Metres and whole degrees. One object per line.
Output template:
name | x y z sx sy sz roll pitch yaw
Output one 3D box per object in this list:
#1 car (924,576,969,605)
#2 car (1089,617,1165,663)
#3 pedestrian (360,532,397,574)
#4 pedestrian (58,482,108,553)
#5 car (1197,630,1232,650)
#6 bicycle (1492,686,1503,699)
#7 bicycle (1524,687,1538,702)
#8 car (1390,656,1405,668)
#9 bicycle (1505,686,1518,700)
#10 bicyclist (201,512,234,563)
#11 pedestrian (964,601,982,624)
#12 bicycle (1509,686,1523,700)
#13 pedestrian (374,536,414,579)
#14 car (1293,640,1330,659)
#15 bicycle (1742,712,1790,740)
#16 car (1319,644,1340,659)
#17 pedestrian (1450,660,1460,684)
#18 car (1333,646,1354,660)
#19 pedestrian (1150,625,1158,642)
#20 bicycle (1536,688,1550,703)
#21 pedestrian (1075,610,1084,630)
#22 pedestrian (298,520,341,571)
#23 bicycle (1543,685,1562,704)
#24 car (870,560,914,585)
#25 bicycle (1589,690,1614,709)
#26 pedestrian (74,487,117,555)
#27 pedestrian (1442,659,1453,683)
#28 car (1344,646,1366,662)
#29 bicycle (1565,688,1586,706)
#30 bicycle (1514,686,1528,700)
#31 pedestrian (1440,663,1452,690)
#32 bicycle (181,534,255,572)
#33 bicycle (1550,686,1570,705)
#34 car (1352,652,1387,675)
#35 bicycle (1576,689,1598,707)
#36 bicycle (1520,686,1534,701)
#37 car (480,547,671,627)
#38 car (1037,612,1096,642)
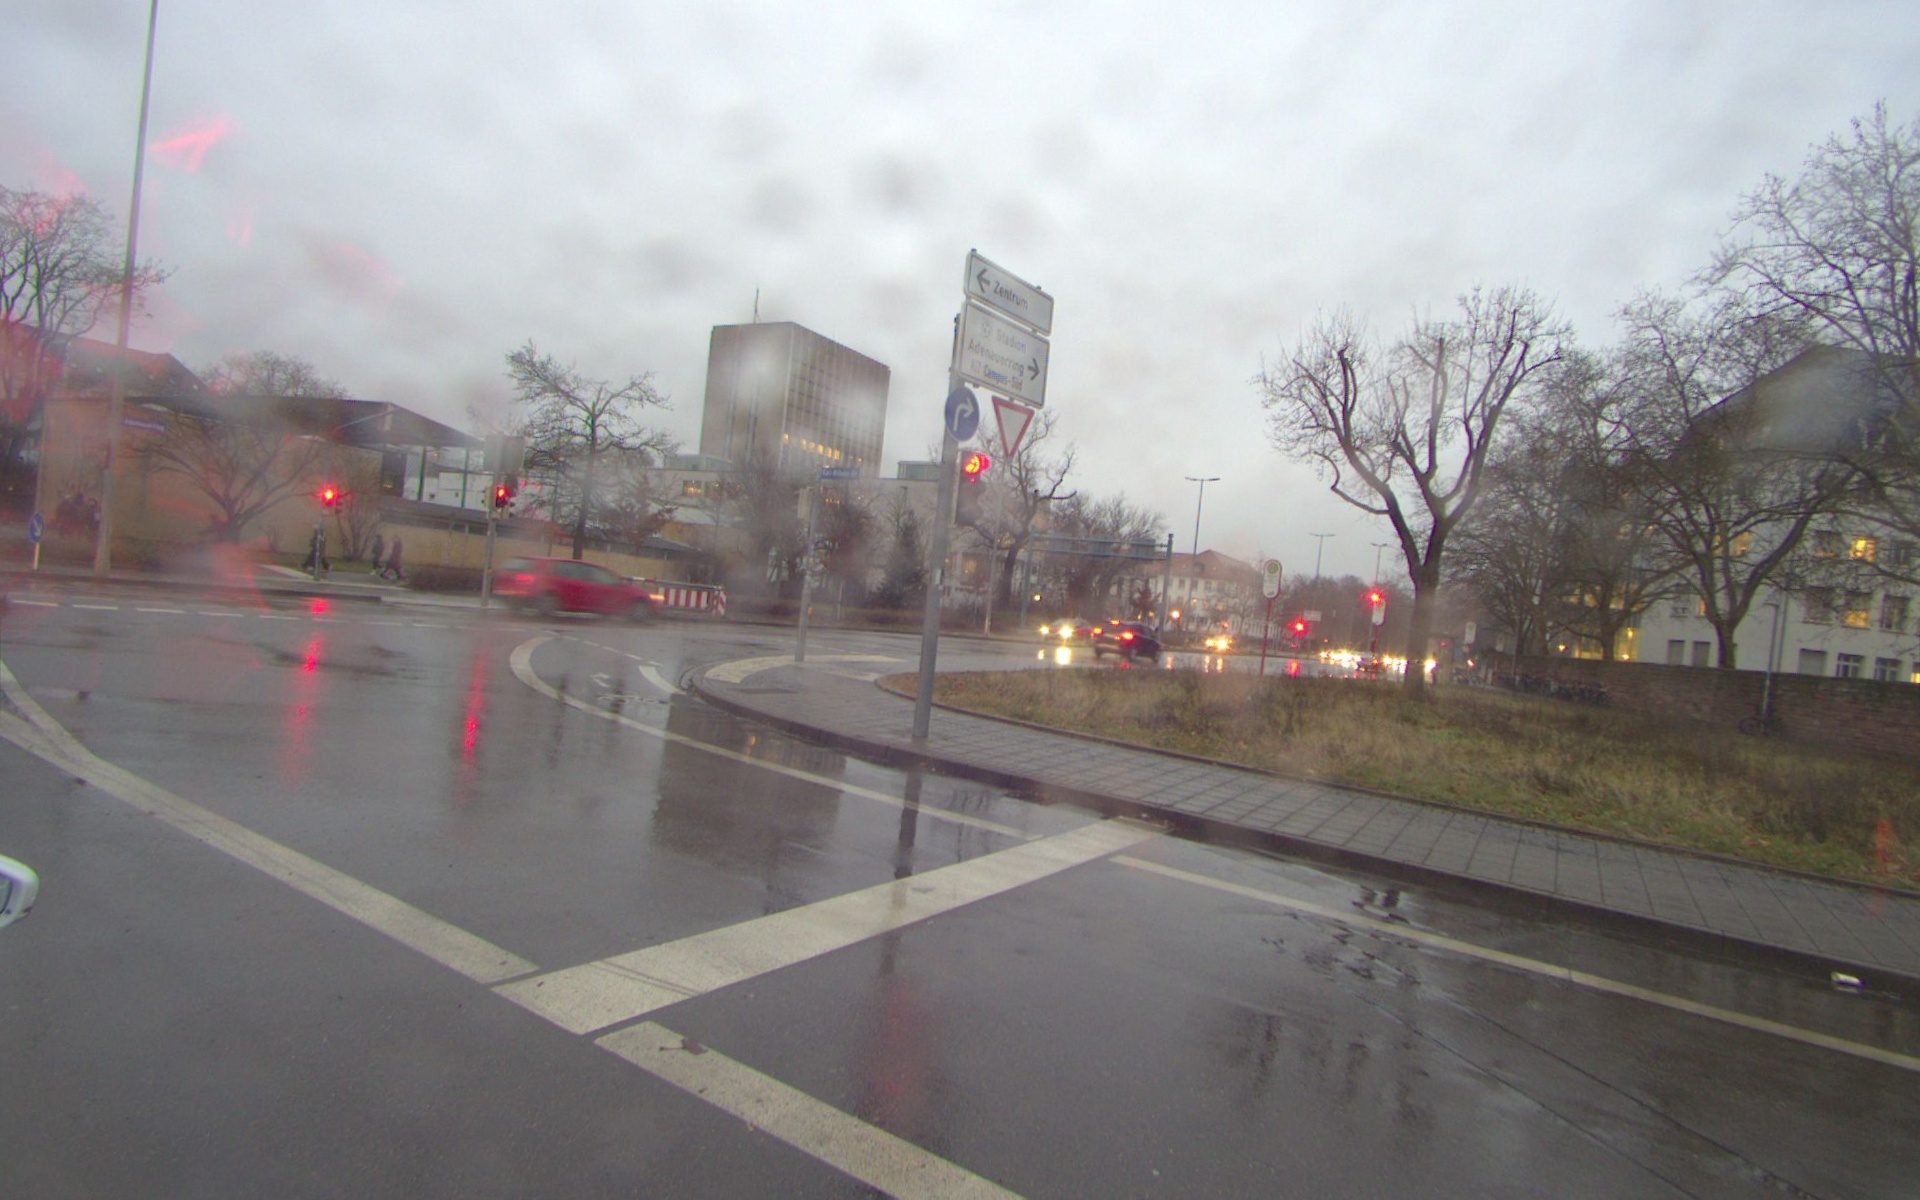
car | -1.339 -0.980 103.198 2.014 2.452 5.326 6 0 30
car | 7.439 1.800 44.471 1.810 1.710 4.316 6 -1 30
pedestrian | -23.692 -1.906 40.970 0.871 1.553 0.893 7 2 32
pedestrian | -28.562 -2.679 32.766 0.871 2.141 0.893 7 2 32
car | 23.697 3.735 93.550 1.781 1.496 4.416 6 0 32
bicycle | 36.390 6.253 68.100 0.387 0.795 1.532 7 -2 20
bicycle | 32.839 5.410 57.859 0.387 0.795 1.532 7 -2 19
car | 75.196 10.714 173.014 1.965 1.783 3.993 7 1 27
bicycle | 34.849 5.872 63.619 0.387 0.795 1.532 7 -2 20
bicyclist | -25.498 -2.141 34.557 0.650 1.620 0.684 8 2 39
pedestrian | 0.957 0.916 75.272 0.783 1.624 0.960 8 2 39
bicycle | 34.349 5.747 62.145 0.387 0.795 1.532 7 -2 20
pedestrian | -22.796 -1.717 40.486 1.025 1.553 0.925 7 2 32
car | 43.288 6.106 123.929 3.954 1.783 1.985 6 1 -29
bicycle | 28.200 4.404 35.219 0.387 0.834 1.386 7 -2 -4
car | 49.289 6.872 134.140 1.966 1.783 3.992 7 1 29
pedestrian | 44.026 6.373 89.468 0.557 2.040 0.595 8 2 33
car | 53.431 7.403 140.167 1.966 1.783 3.992 7 1 29
pedestrian | 21.279 3.662 110.312 0.413 1.725 0.428 5 3 -37
bicycle | 32.411 5.296 55.946 0.387 0.795 1.607 7 -2 22
pedestrian | 10.690 1.774 90.227 0.411 1.725 0.430 8 3 44
pedestrian | -24.835 -2.123 39.009 0.904 1.823 0.997 7 2 32
bicycle | 31.840 5.080 54.081 0.387 0.927 1.532 7 -2 15
car | -7.144 -2.910 106.381 2.014 2.102 4.892 6 0 30
bicycle | 30.273 4.678 47.469 0.352 0.795 1.415 7 -2 8
pedestrian | -29.013 -2.662 33.757 0.874 2.141 0.890 8 2 44
pedestrian | 43.511 6.319 89.806 0.557 2.040 0.595 8 2 33
car | 51.648 7.079 131.484 1.966 1.783 3.992 7 1 29
bicycle | 31.036 4.881 50.738 0.343 0.848 1.493 7 -2 13
bicycle | 33.828 5.620 60.657 0.387 0.795 1.532 7 -2 20
pedestrian | 30.151 4.739 62.412 0.462 1.623 0.486 7 -1 25
bicycle | -25.516 -1.604 34.628 0.650 1.061 1.881 8 1 39
bicycle | 31.355 4.985 52.550 0.387 0.868 1.532 7 -2 15
car | 34.213 5.288 83.922 1.811 1.710 4.311 6 0 32
bicycle | 30.547 4.774 48.994 0.387 0.795 1.533 7 -2 14
bicycle | 33.322 5.493 59.138 0.387 0.795 1.532 7 -2 20
car | -9.711 -0.297 25.678 1.815 1.602 4.118 6 0 39
car | 6.399 1.657 60.123 1.780 1.496 4.419 6 0 29
